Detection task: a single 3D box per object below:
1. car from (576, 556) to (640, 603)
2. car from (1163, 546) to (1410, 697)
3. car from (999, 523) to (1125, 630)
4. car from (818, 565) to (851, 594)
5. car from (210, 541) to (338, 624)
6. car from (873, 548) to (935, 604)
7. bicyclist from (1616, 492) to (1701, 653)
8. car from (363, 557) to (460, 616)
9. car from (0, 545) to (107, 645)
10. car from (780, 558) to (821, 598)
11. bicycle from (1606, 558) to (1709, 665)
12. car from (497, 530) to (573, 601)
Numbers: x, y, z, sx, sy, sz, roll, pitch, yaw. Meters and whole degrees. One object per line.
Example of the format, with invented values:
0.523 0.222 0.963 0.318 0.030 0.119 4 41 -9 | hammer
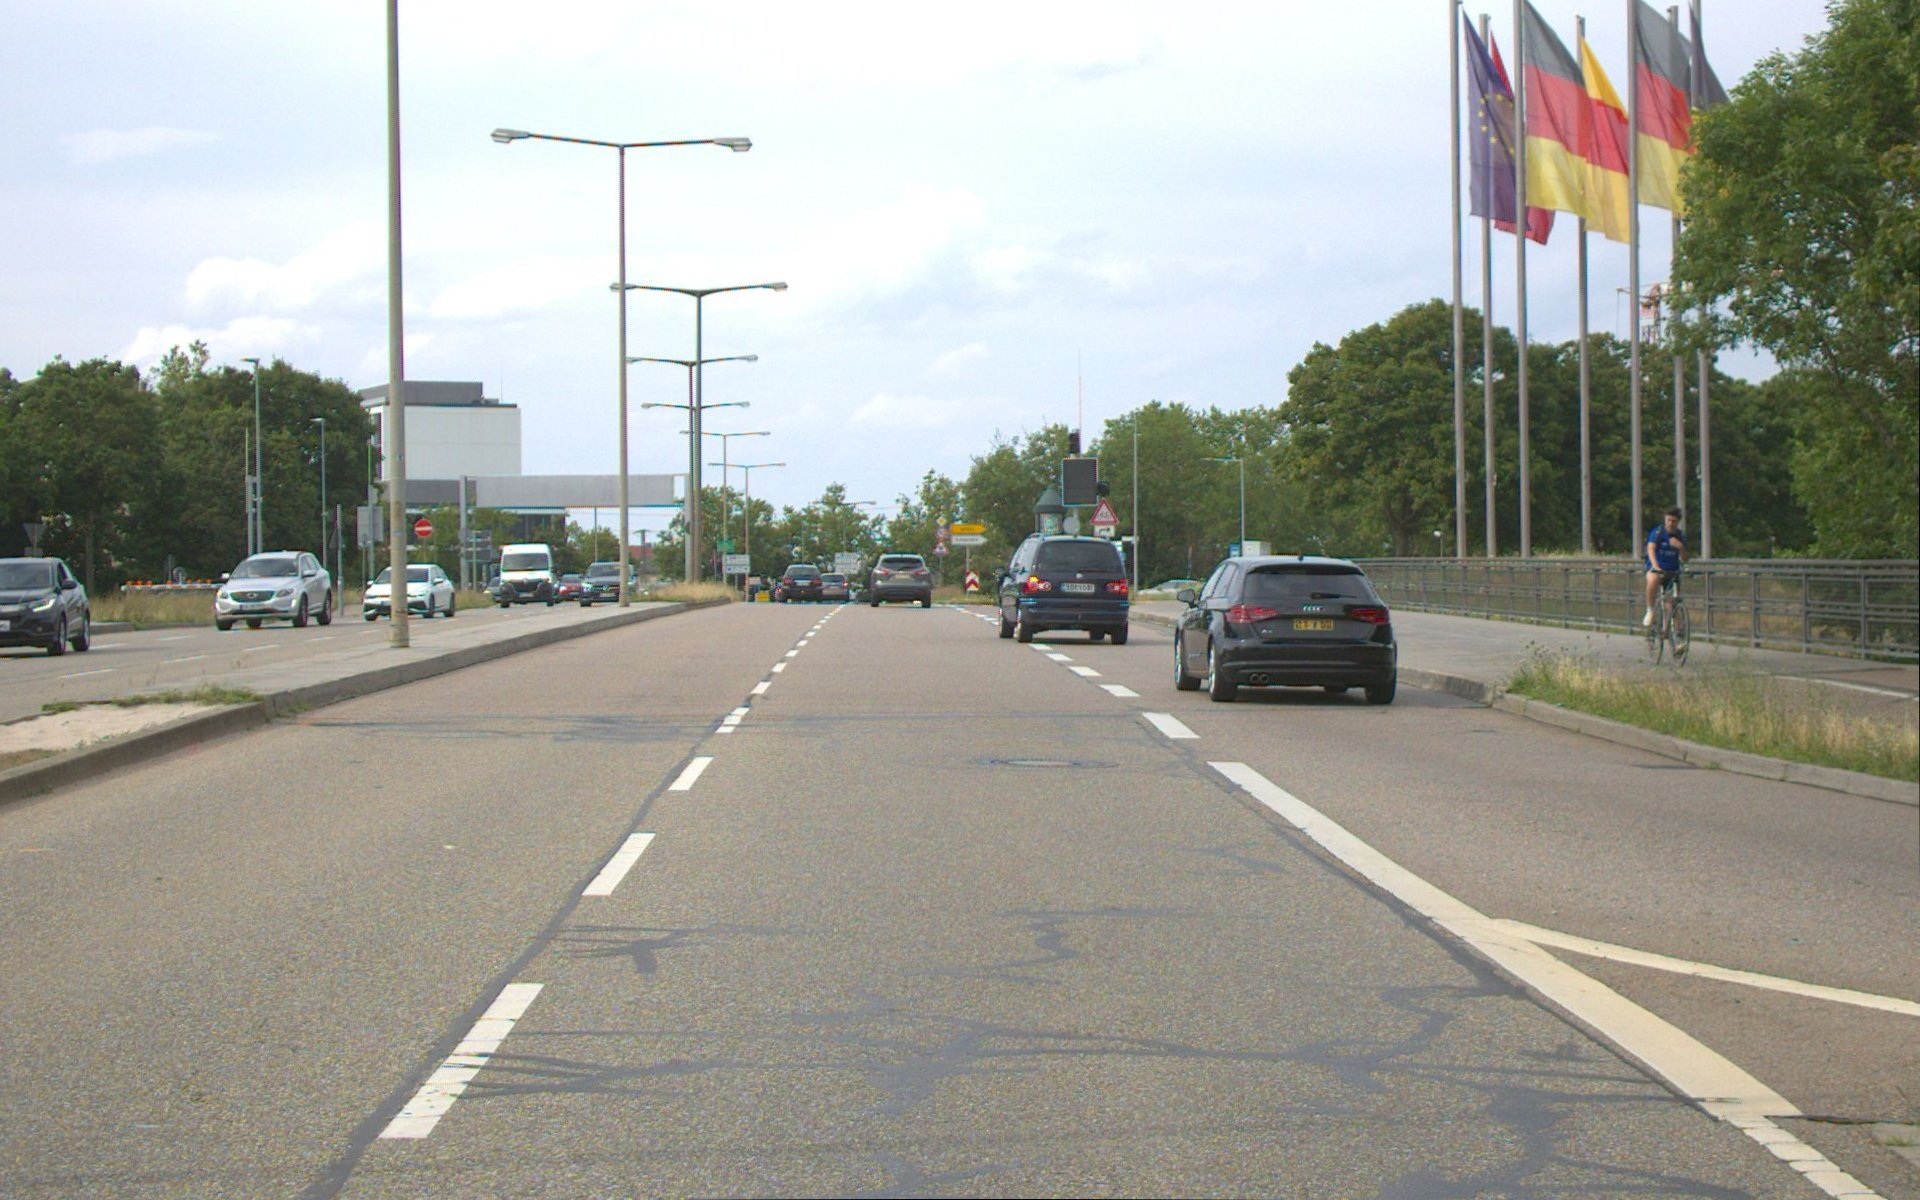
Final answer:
-11.601 -0.672 113.510 1.738 1.475 4.776 -2 0 -2 | car
3.139 0.187 33.781 1.730 1.390 4.115 0 0 -4 | car
1.614 -0.374 55.658 1.730 1.647 4.115 1 0 -2 | car
-6.777 -1.088 185.928 1.730 1.521 4.115 1 0 -2 | car
-15.097 -0.404 75.875 1.863 1.719 4.770 -2 1 -1 | car
-1.712 -0.713 103.892 1.730 1.647 4.115 1 0 -2 | car
7.354 -0.298 36.203 0.664 1.653 0.805 1 2 -2 | bicyclist
-14.659 -0.379 92.060 1.738 1.475 4.471 -2 1 1 | car
-14.925 -0.092 54.948 1.739 1.510 4.316 -2 1 -4 | car
-6.881 -0.943 148.454 1.730 1.647 4.115 1 0 -2 | car
7.342 0.104 36.266 0.577 1.018 1.976 -3 2 -2 | bicycle
-16.457 -1.368 133.549 2.053 2.634 6.400 -2 1 0 | car
